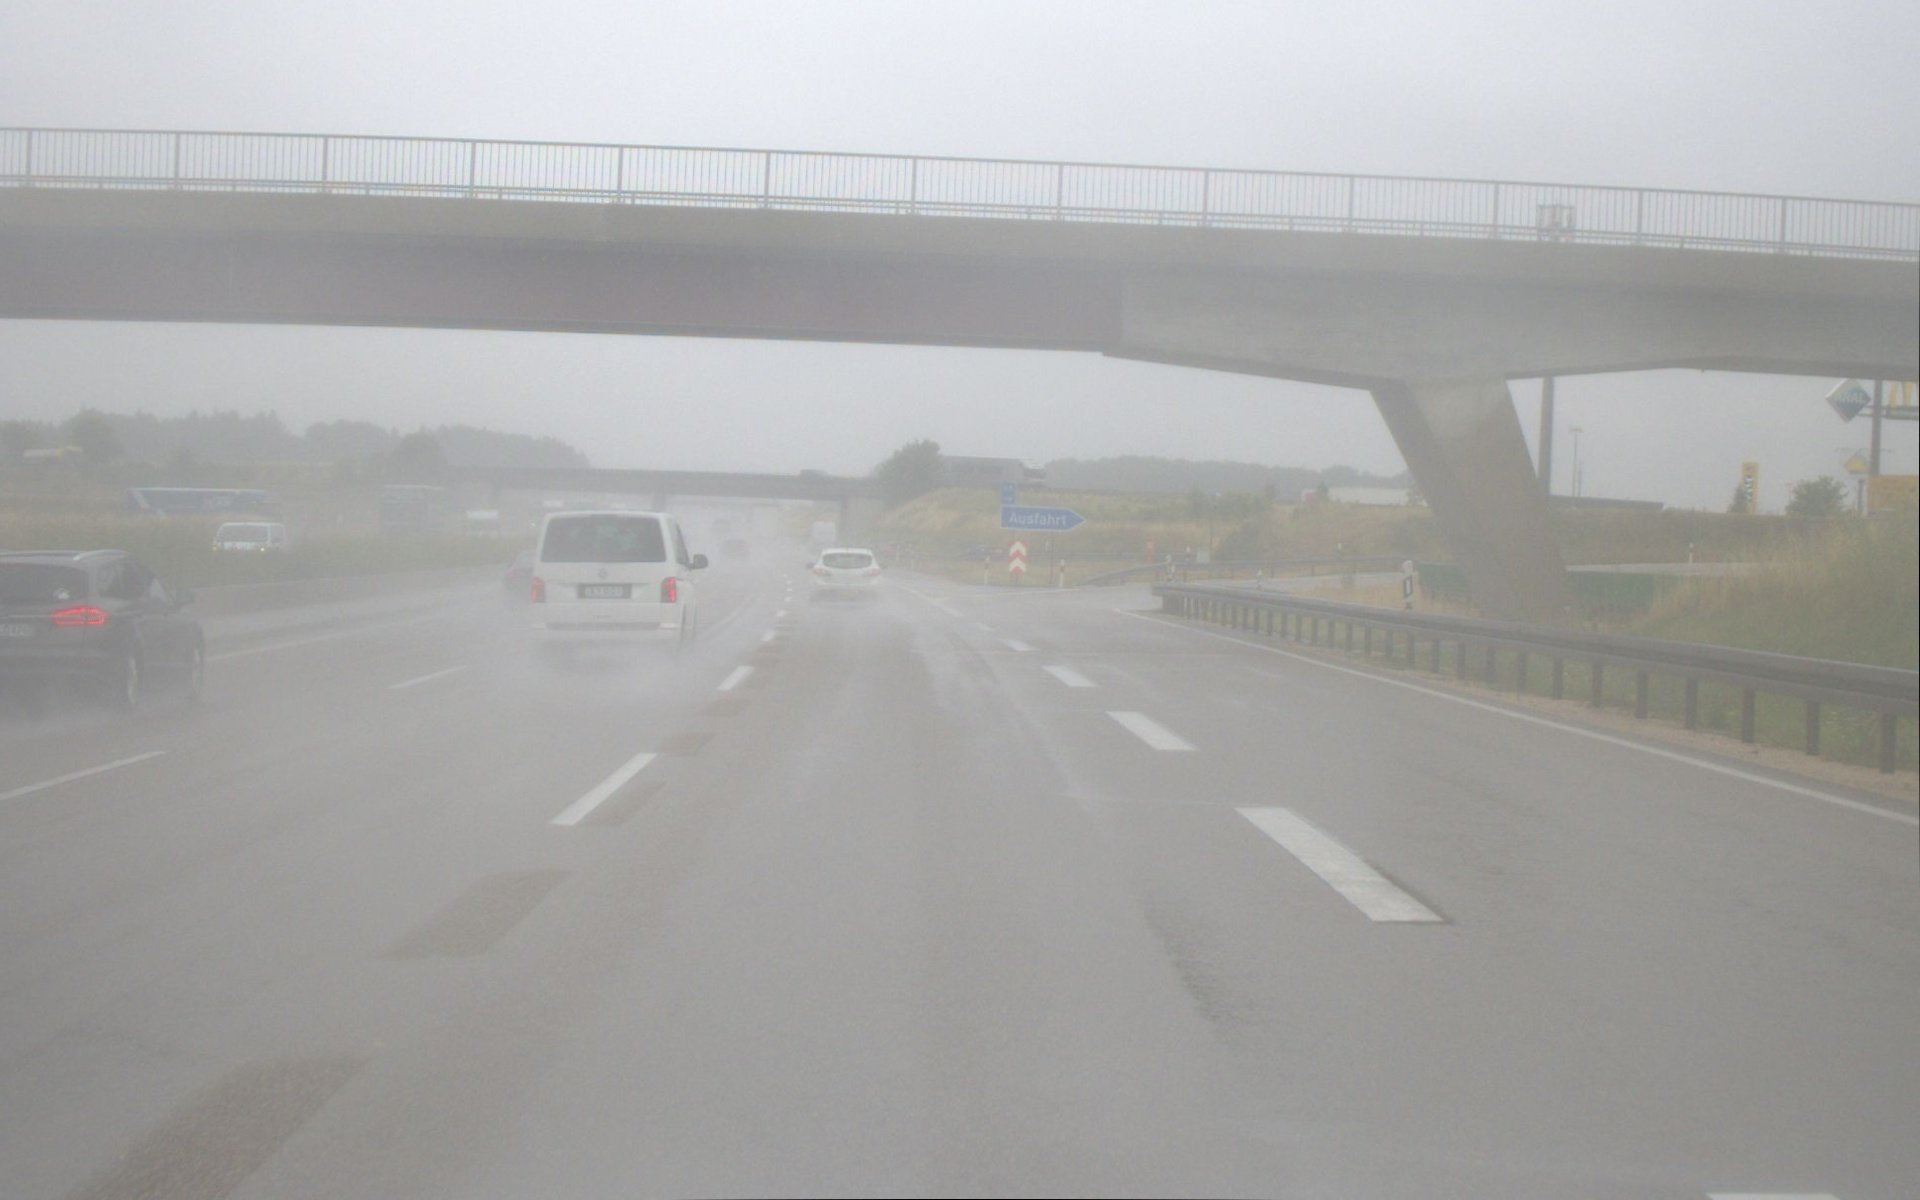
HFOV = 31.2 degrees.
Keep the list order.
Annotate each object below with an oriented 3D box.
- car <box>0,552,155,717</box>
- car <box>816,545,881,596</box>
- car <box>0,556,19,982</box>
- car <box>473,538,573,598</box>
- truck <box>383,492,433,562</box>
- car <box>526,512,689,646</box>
[{"bbox_3d":[-8.268,0.265,30.725,1.612,1.349,4.001,1,1,-6],"label":"car"},{"bbox_3d":[-2.684,-0.727,83.013,1.468,1.204,2.991,1,1,0],"label":"car"},{"bbox_3d":[-4.132,0.621,9.936,1.846,1.508,4.757,1,1,-5],"label":"car"},{"bbox_3d":[-9.510,-0.697,75.067,1.468,1.253,3.339,1,1,5],"label":"car"},{"bbox_3d":[-31.652,-4.178,197.134,2.213,3.970,5.185,1,1,-3],"label":"truck"},{"bbox_3d":[-4.422,-0.278,43.604,1.897,1.580,4.001,1,1,-4],"label":"car"}]
